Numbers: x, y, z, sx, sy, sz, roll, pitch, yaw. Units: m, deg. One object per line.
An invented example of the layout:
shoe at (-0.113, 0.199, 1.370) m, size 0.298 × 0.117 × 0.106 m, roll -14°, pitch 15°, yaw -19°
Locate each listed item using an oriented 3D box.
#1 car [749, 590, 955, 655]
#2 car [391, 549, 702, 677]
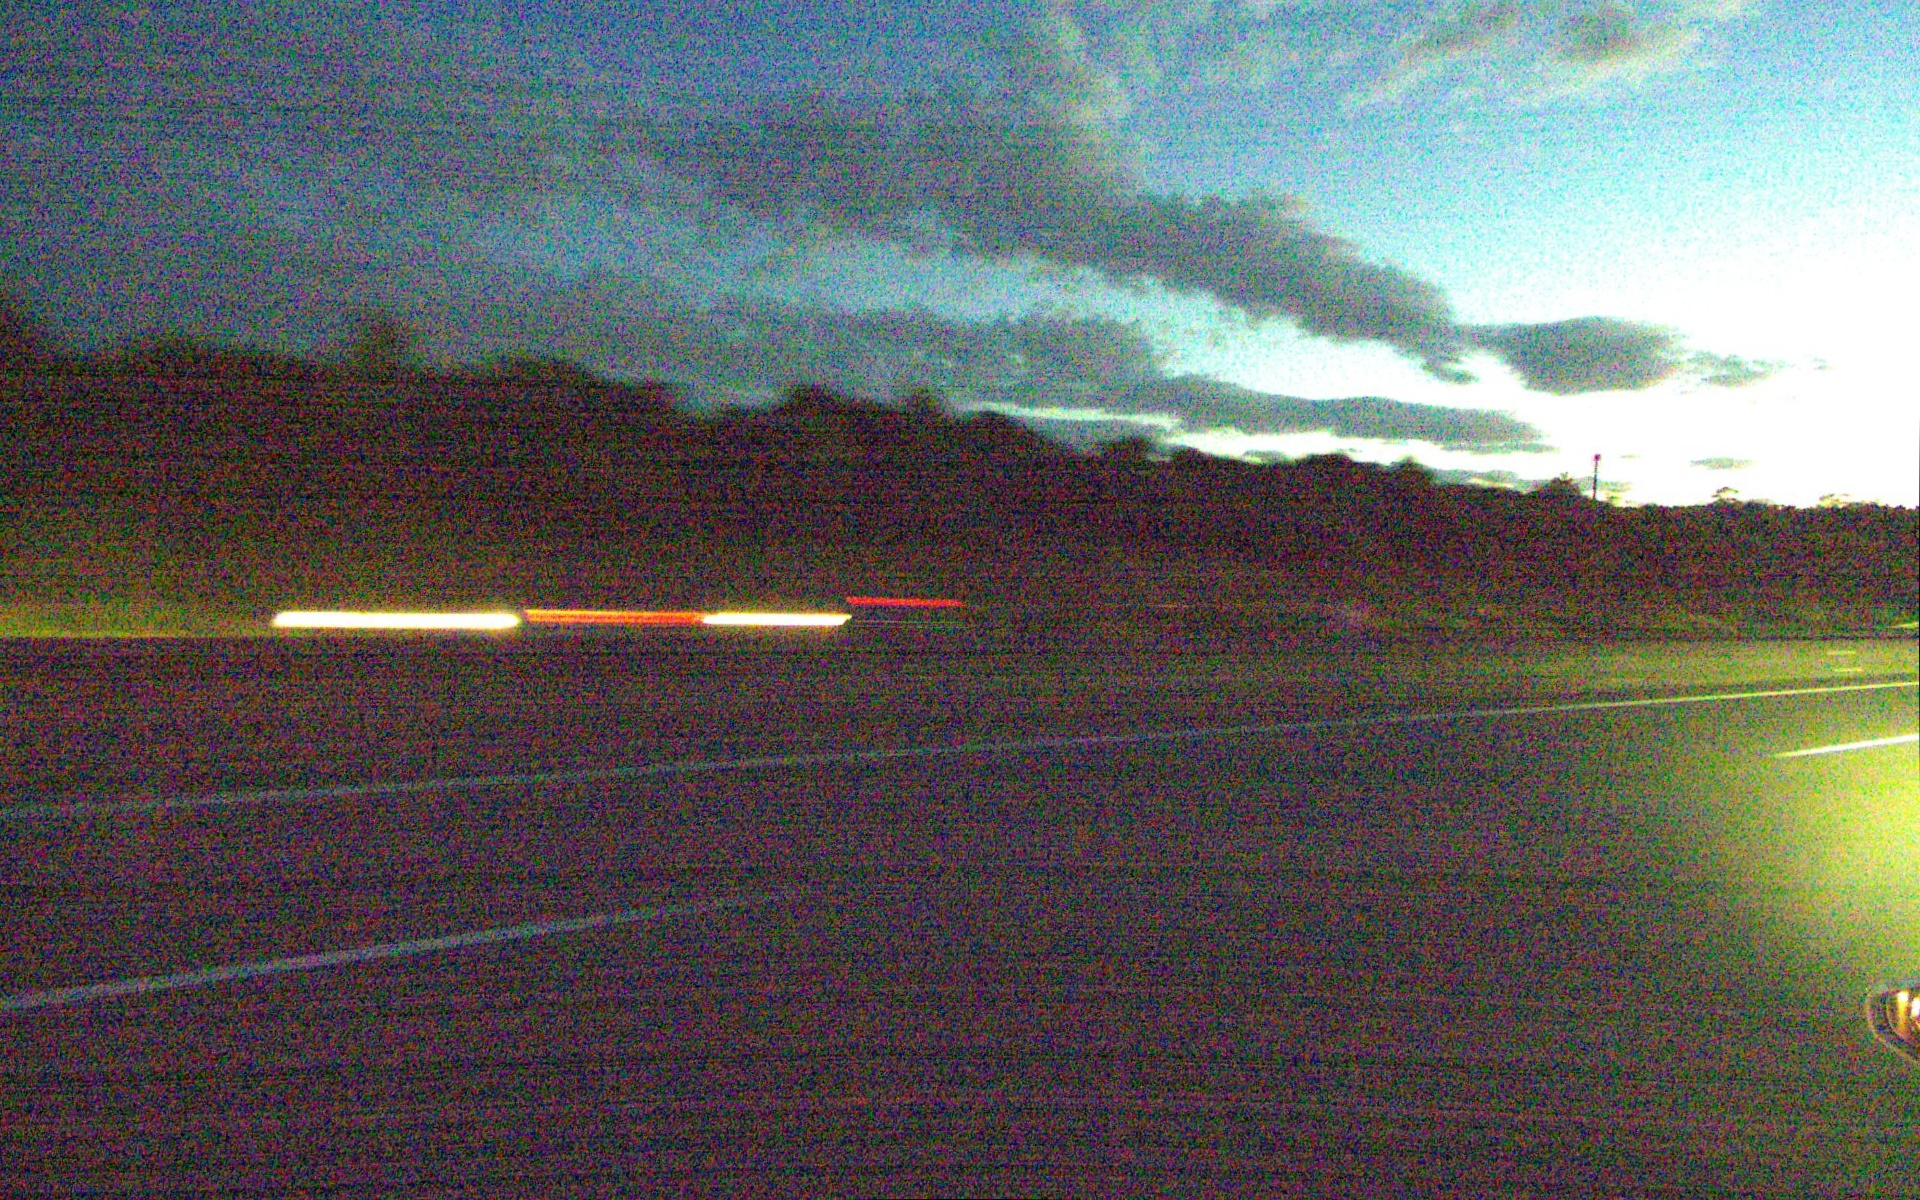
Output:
car at (-2.566, 0.552, 24.170) m, size 4.603 × 1.448 × 1.766 m, roll 2°, pitch 0°, yaw -30°
car at (-6.956, 0.233, 17.028) m, size 4.603 × 1.910 × 2.095 m, roll 2°, pitch 0°, yaw -29°
